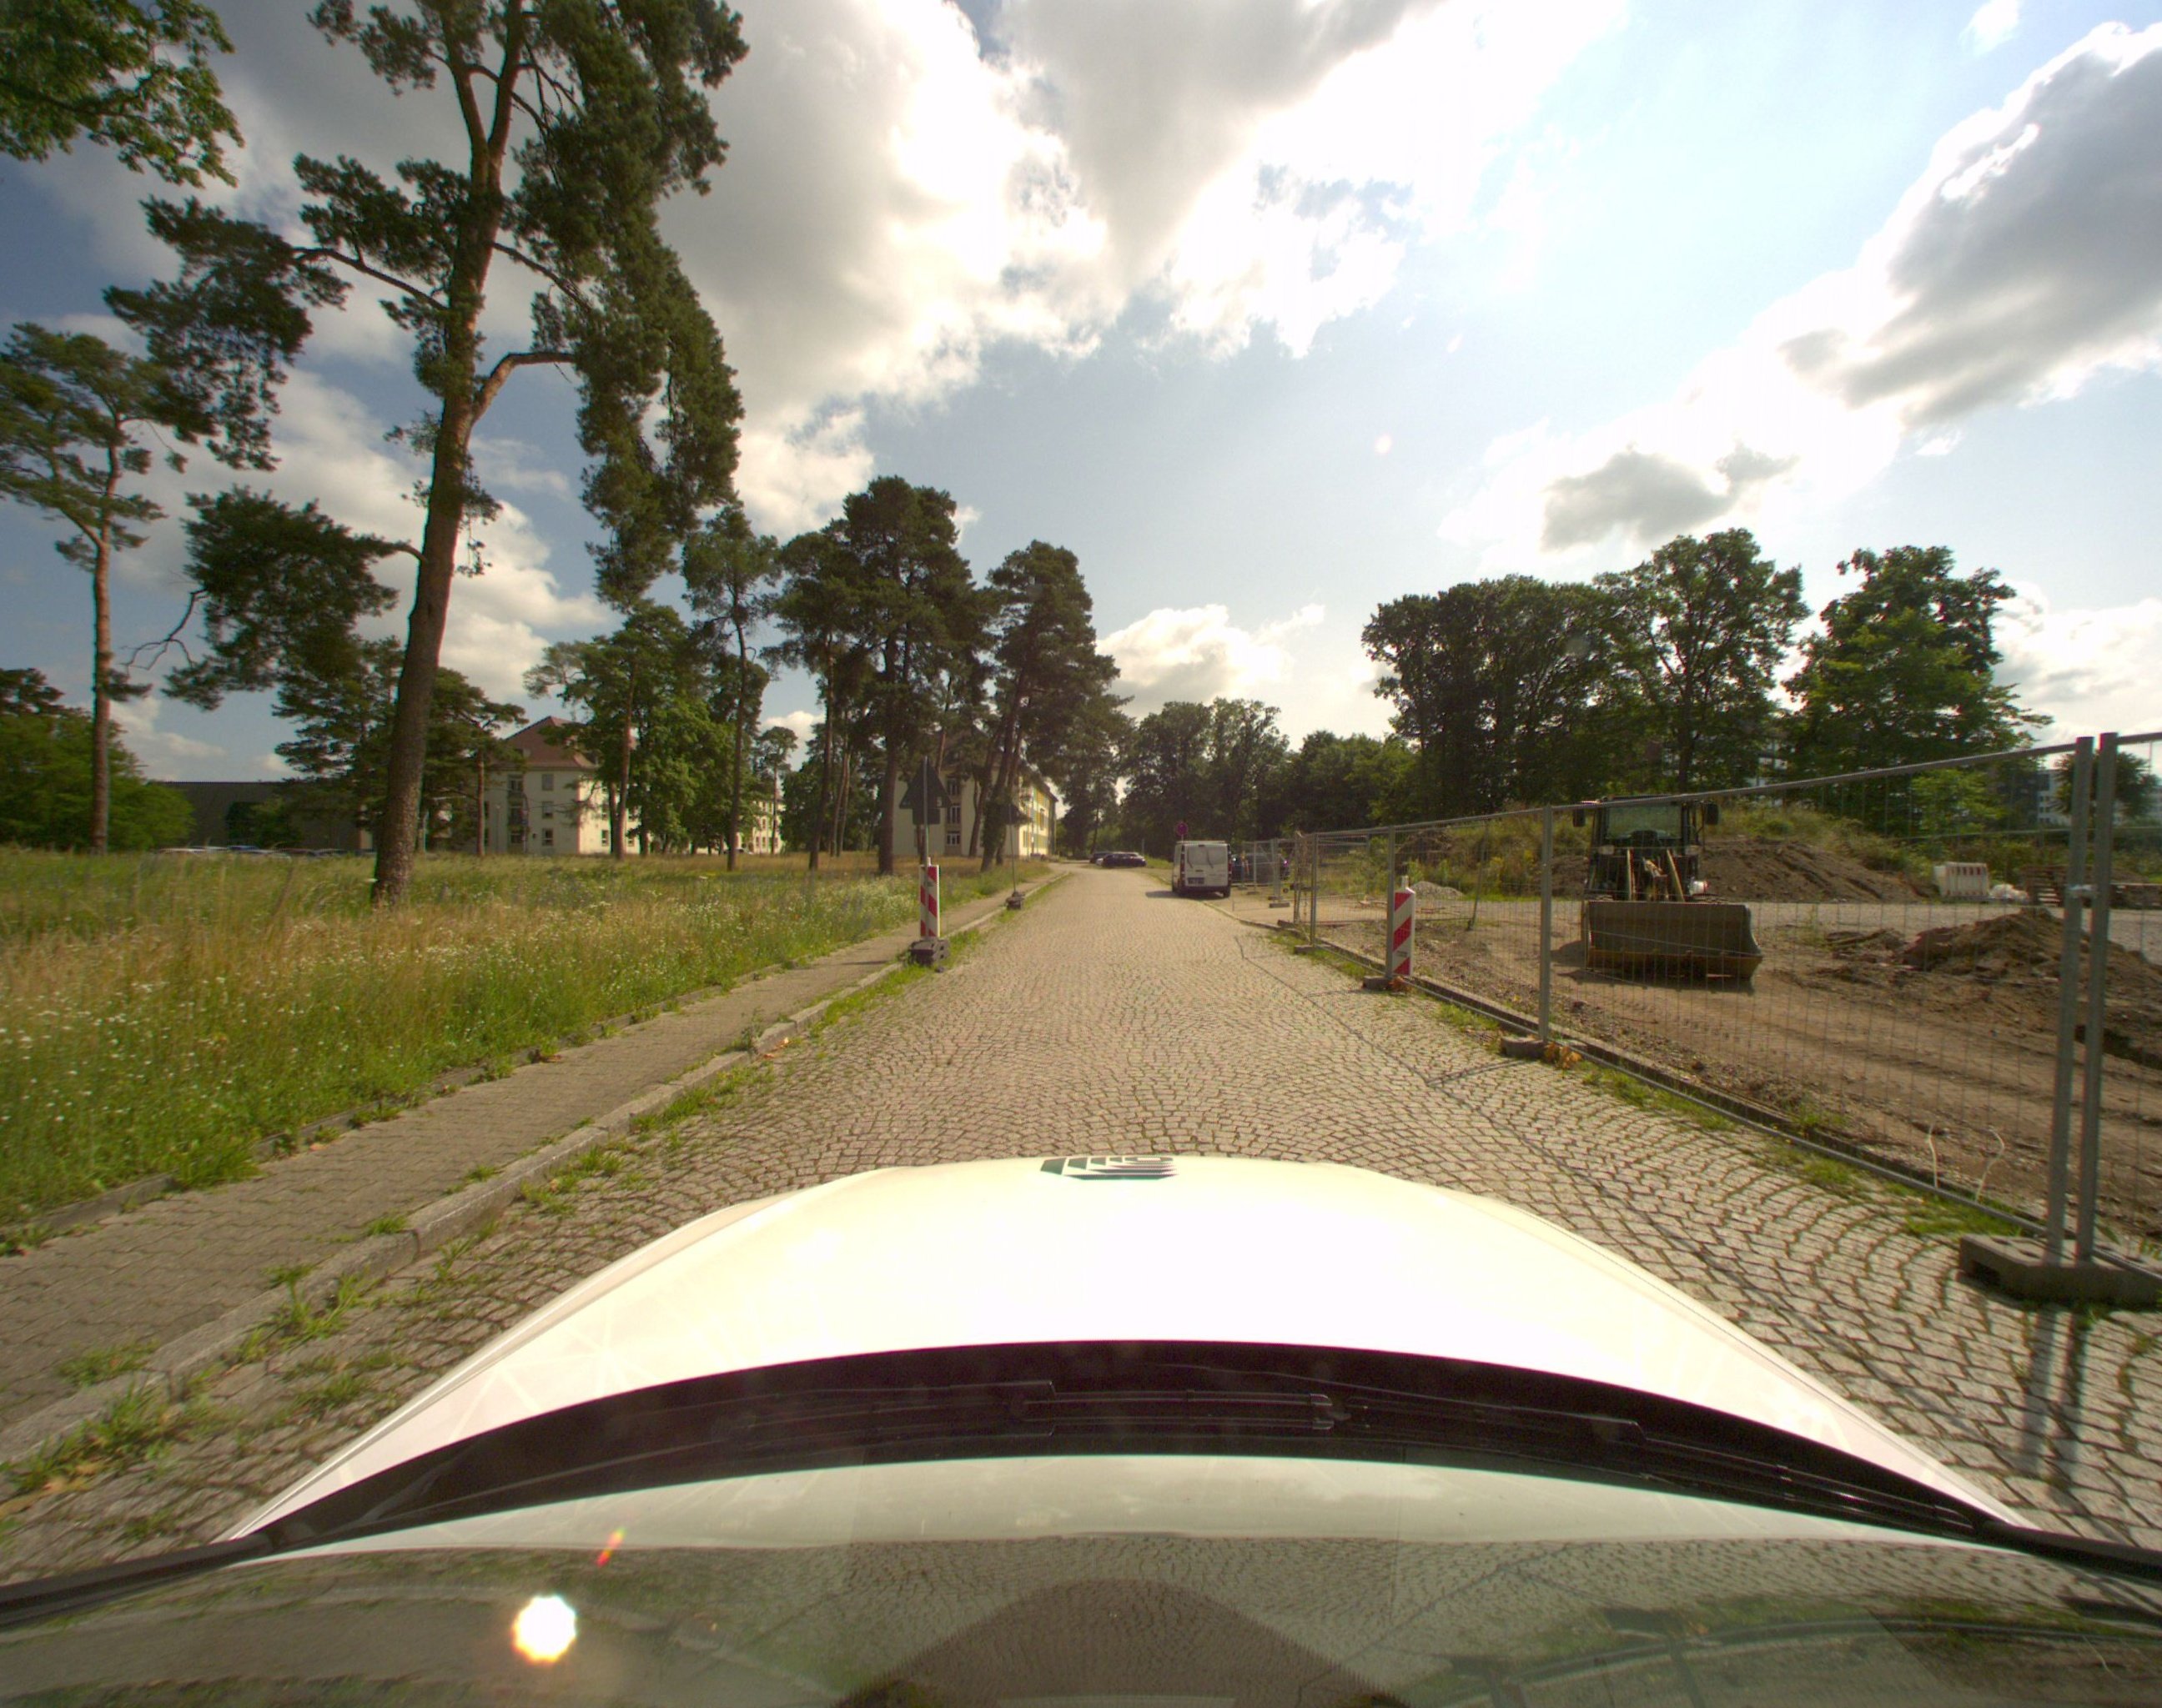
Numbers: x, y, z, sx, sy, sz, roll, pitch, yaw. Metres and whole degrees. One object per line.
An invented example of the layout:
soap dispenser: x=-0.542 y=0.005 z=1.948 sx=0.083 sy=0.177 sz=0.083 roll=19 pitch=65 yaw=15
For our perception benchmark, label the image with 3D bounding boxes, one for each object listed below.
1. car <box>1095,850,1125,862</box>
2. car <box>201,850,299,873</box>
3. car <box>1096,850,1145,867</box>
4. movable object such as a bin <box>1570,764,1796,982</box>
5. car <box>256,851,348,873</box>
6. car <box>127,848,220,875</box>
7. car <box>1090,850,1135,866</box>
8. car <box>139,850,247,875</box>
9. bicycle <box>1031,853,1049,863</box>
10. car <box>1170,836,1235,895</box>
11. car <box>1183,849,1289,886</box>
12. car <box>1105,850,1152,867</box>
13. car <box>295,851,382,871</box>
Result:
car: x=4.181 y=0.293 z=117.201 sx=4.169 sy=1.543 sz=1.821 roll=-2 pitch=-1 yaw=3
car: x=-50.704 y=0.471 z=49.744 sx=4.052 sy=1.339 sz=1.901 roll=-1 pitch=0 yaw=0
car: x=3.958 y=0.438 z=81.702 sx=4.846 sy=1.472 sz=1.874 roll=-2 pitch=1 yaw=0
movable object such as a bin: x=8.746 y=0.168 z=12.397 sx=2.122 sy=2.521 sz=5.692 roll=-1 pitch=1 yaw=30
car: x=-49.962 y=0.499 z=52.286 sx=4.052 sy=1.320 sz=1.901 roll=-1 pitch=0 yaw=0
car: x=-60.700 y=0.496 z=54.534 sx=4.052 sy=1.702 sz=1.901 roll=-1 pitch=0 yaw=0
car: x=3.405 y=0.430 z=89.070 sx=4.837 sy=1.552 sz=1.879 roll=-2 pitch=-1 yaw=0
car: x=-50.763 y=0.461 z=46.613 sx=4.044 sy=1.349 sz=1.901 roll=-1 pitch=0 yaw=0
bicycle: x=-5.352 y=0.550 z=106.316 sx=2.212 sy=1.260 sz=0.624 roll=-1 pitch=0 yaw=3
car: x=4.531 y=0.397 z=31.151 sx=1.906 sy=2.053 sz=5.683 roll=-1 pitch=0 yaw=3
car: x=7.028 y=0.603 z=37.116 sx=4.443 sy=1.475 sz=1.744 roll=-2 pitch=0 yaw=-3
car: x=4.557 y=0.462 z=78.707 sx=4.320 sy=1.500 sz=1.826 roll=-2 pitch=1 yaw=-7
car: x=-49.793 y=0.475 z=54.663 sx=4.052 sy=1.309 sz=1.901 roll=-1 pitch=0 yaw=0
